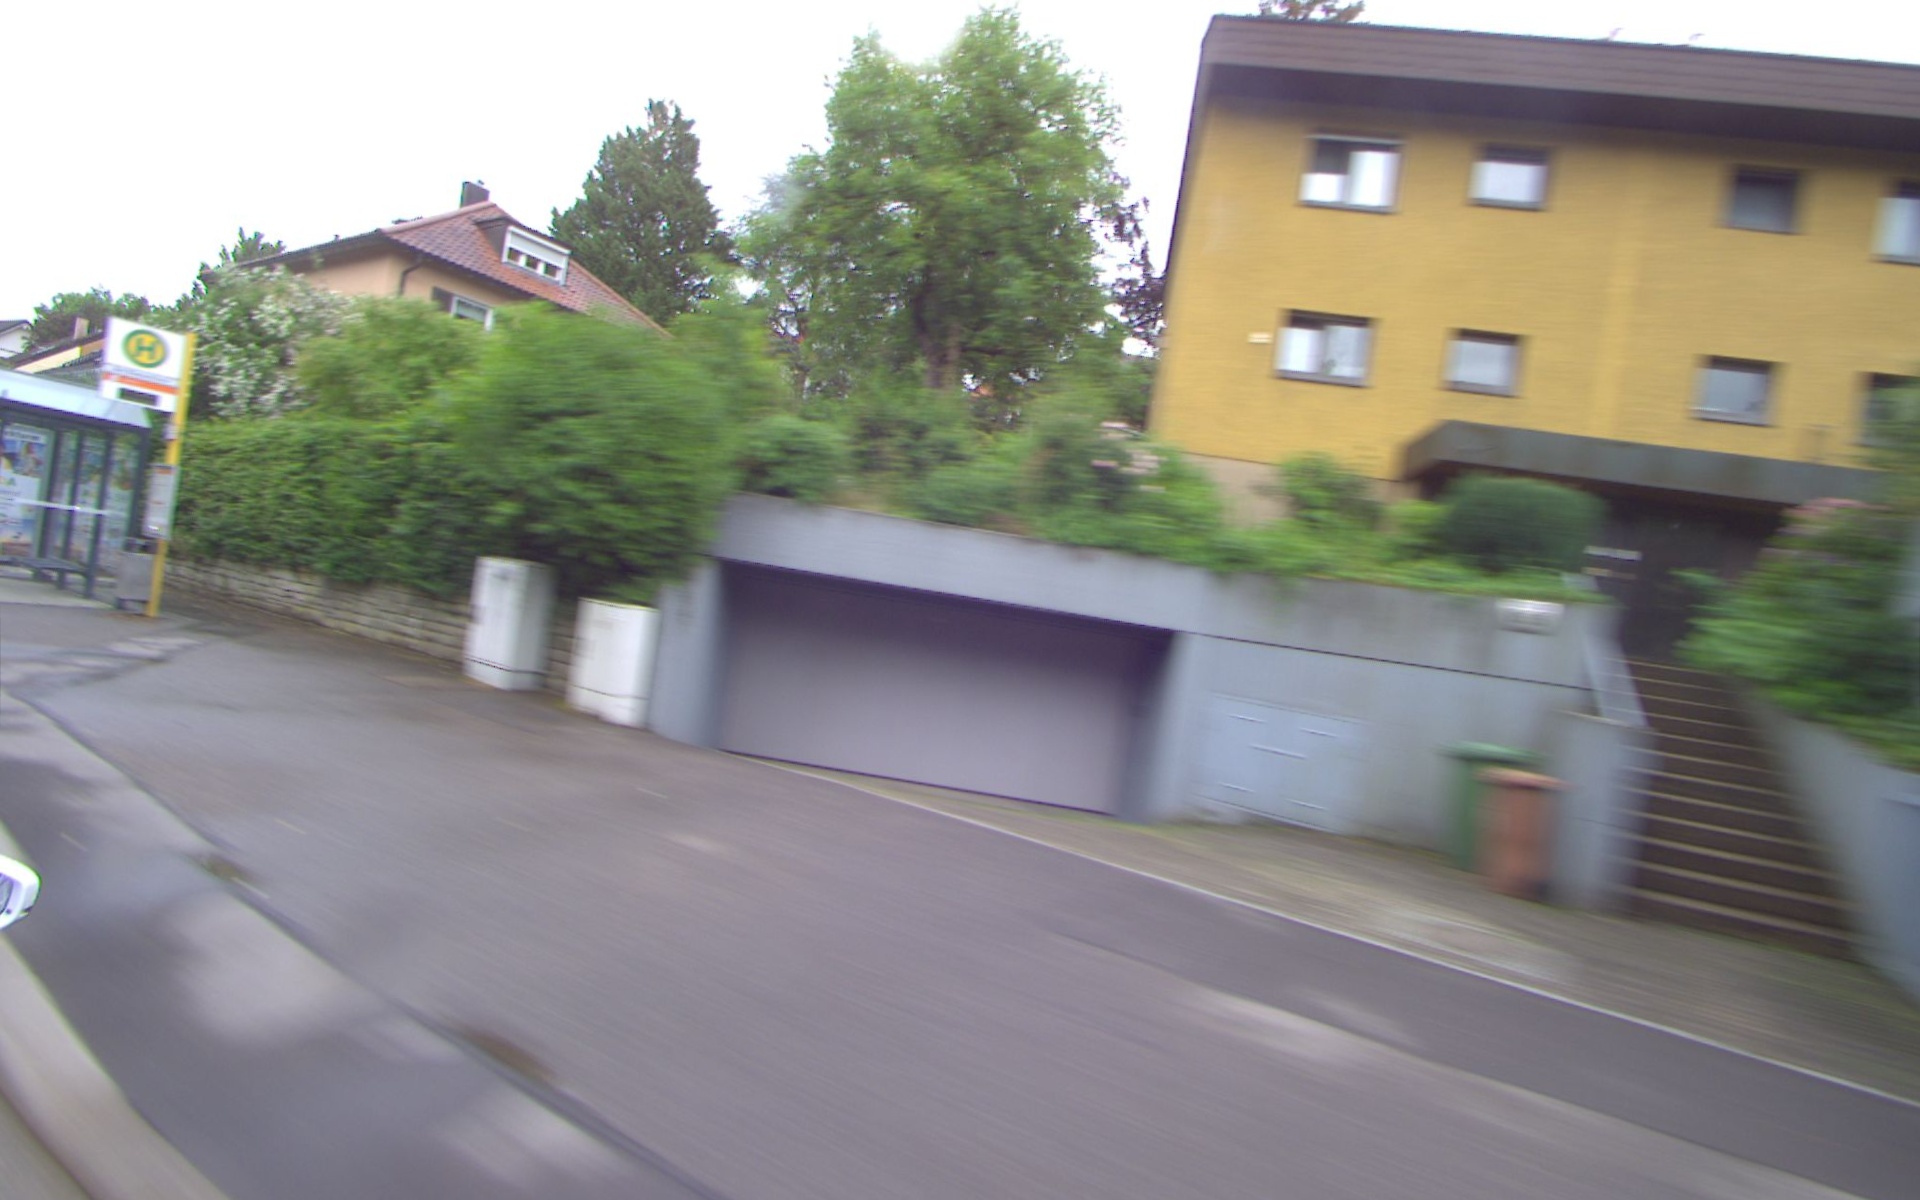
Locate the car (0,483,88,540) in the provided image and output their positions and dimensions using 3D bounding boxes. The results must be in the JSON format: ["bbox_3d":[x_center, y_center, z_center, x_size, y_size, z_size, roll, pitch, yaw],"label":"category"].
[{"bbox_3d":[-30.463,-2.919,32.083,1.799,1.556,3.656,7,2,34],"label":"car"}]

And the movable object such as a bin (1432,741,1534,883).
[{"bbox_3d":[4.440,1.768,8.530,0.625,1.048,0.528,7,-2,32],"label":"movable object such as a bin"}]

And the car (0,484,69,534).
[{"bbox_3d":[-34.301,-3.400,35.250,1.854,1.477,4.247,5,-2,36],"label":"car"}]

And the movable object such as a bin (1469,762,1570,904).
[{"bbox_3d":[4.259,1.746,7.660,0.556,0.916,0.528,7,-2,31],"label":"movable object such as a bin"}]

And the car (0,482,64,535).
[{"bbox_3d":[-32.826,-3.229,33.826,1.853,1.586,3.656,6,0,36],"label":"car"}]
